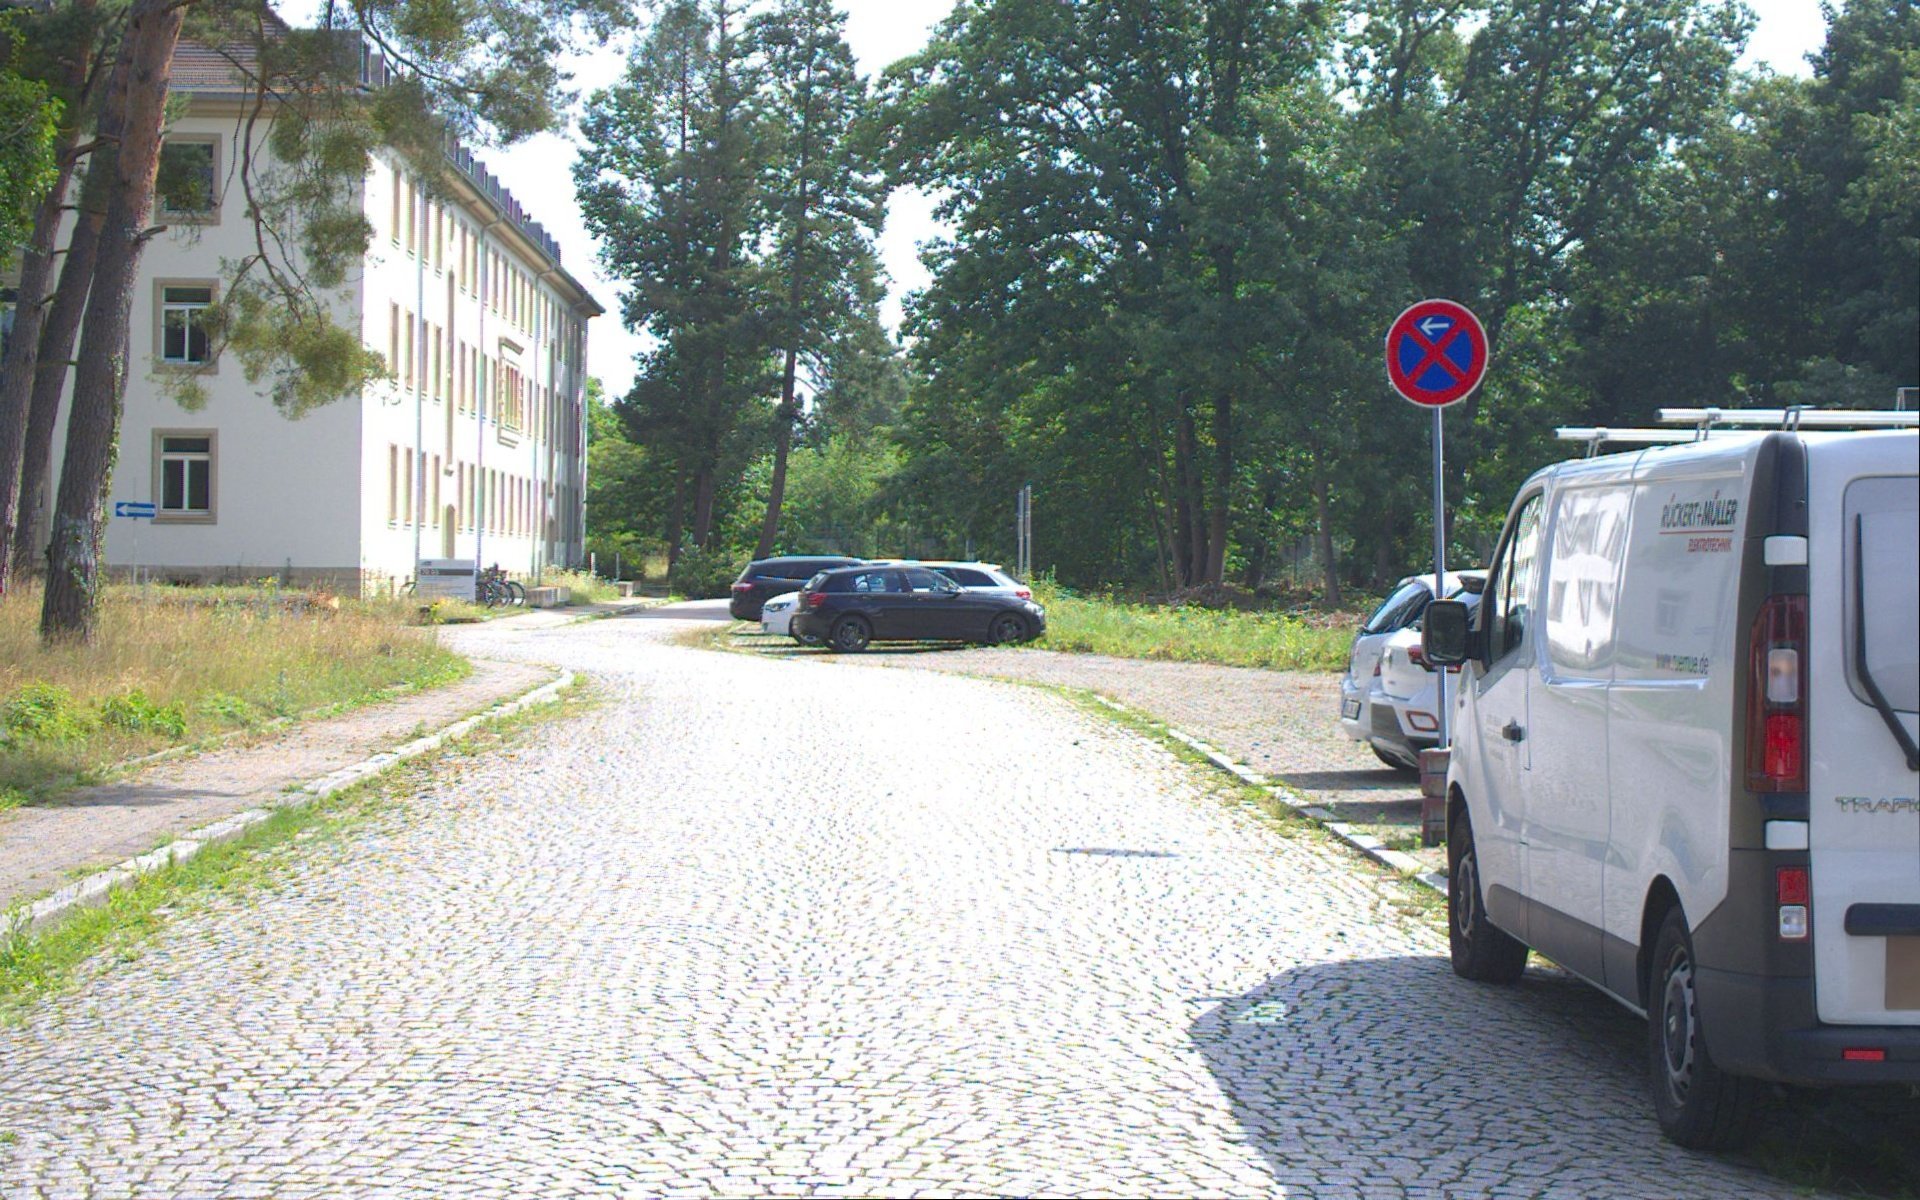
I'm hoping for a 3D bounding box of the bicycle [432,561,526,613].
[{"bbox_3d":[-11.961,-0.327,85.525,2.222,1.256,0.623,0,0,1],"label":"bicycle"}]

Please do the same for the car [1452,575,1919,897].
[{"bbox_3d":[4.866,0.618,17.183,4.453,1.470,1.746,-1,1,-6],"label":"car"}]

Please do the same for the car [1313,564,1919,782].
[{"bbox_3d":[4.704,0.494,24.775,4.041,1.459,1.704,-1,1,-4],"label":"car"}]

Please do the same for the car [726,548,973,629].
[{"bbox_3d":[-2.234,-0.233,68.732,4.852,1.547,1.880,-1,0,-3],"label":"car"}]

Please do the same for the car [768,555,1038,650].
[{"bbox_3d":[-0.982,0.022,58.232,4.323,1.495,1.830,-1,2,-10],"label":"car"}]

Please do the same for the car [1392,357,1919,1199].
[{"bbox_3d":[2.755,0.424,11.070,1.914,2.046,5.679,0,0,-1],"label":"car"}]

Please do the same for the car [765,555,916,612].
[{"bbox_3d":[-3.340,-0.468,96.843,4.187,1.538,1.820,-1,0,0],"label":"car"}]

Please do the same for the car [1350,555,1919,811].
[{"bbox_3d":[4.603,0.486,21.707,3.986,1.501,1.747,-1,1,-4],"label":"car"}]

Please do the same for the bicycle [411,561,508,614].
[{"bbox_3d":[-12.059,-0.295,82.826,2.222,1.256,0.623,0,0,5],"label":"bicycle"}]

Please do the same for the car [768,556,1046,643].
[{"bbox_3d":[-0.979,-0.023,61.419,4.861,1.467,1.875,-1,1,-3],"label":"car"}]
